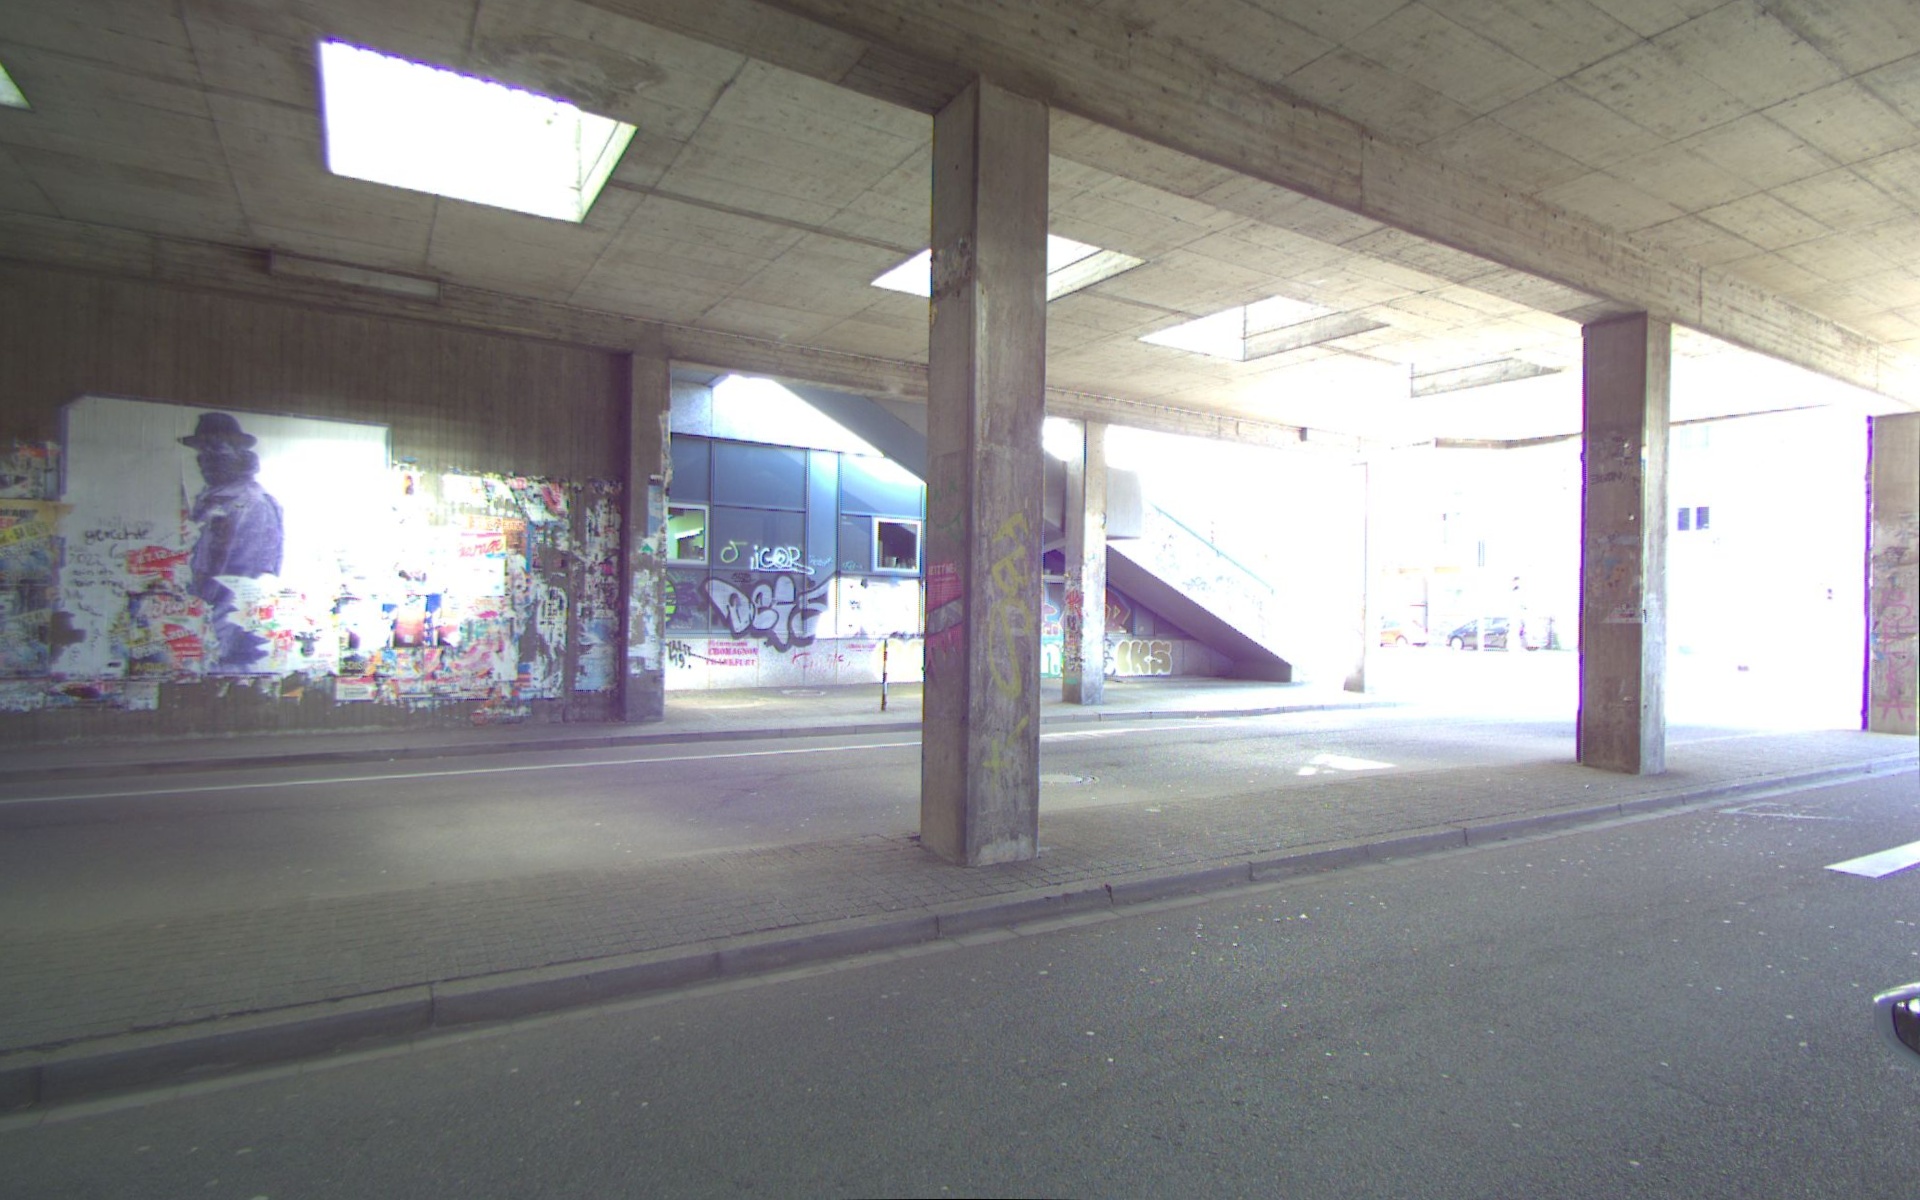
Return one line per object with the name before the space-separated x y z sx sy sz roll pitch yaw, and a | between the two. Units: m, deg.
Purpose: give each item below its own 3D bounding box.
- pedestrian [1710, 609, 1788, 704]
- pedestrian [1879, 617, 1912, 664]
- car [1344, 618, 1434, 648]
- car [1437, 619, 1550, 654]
pedestrian | 15.441 1.084 19.674 0.784 1.785 0.925 2 0 -28
pedestrian | 33.959 1.456 36.472 0.732 1.659 0.669 2 0 -30
car | 22.480 1.709 52.795 1.905 1.428 3.965 2 0 -32
car | 25.272 1.709 47.751 1.905 1.428 4.382 2 0 -32
